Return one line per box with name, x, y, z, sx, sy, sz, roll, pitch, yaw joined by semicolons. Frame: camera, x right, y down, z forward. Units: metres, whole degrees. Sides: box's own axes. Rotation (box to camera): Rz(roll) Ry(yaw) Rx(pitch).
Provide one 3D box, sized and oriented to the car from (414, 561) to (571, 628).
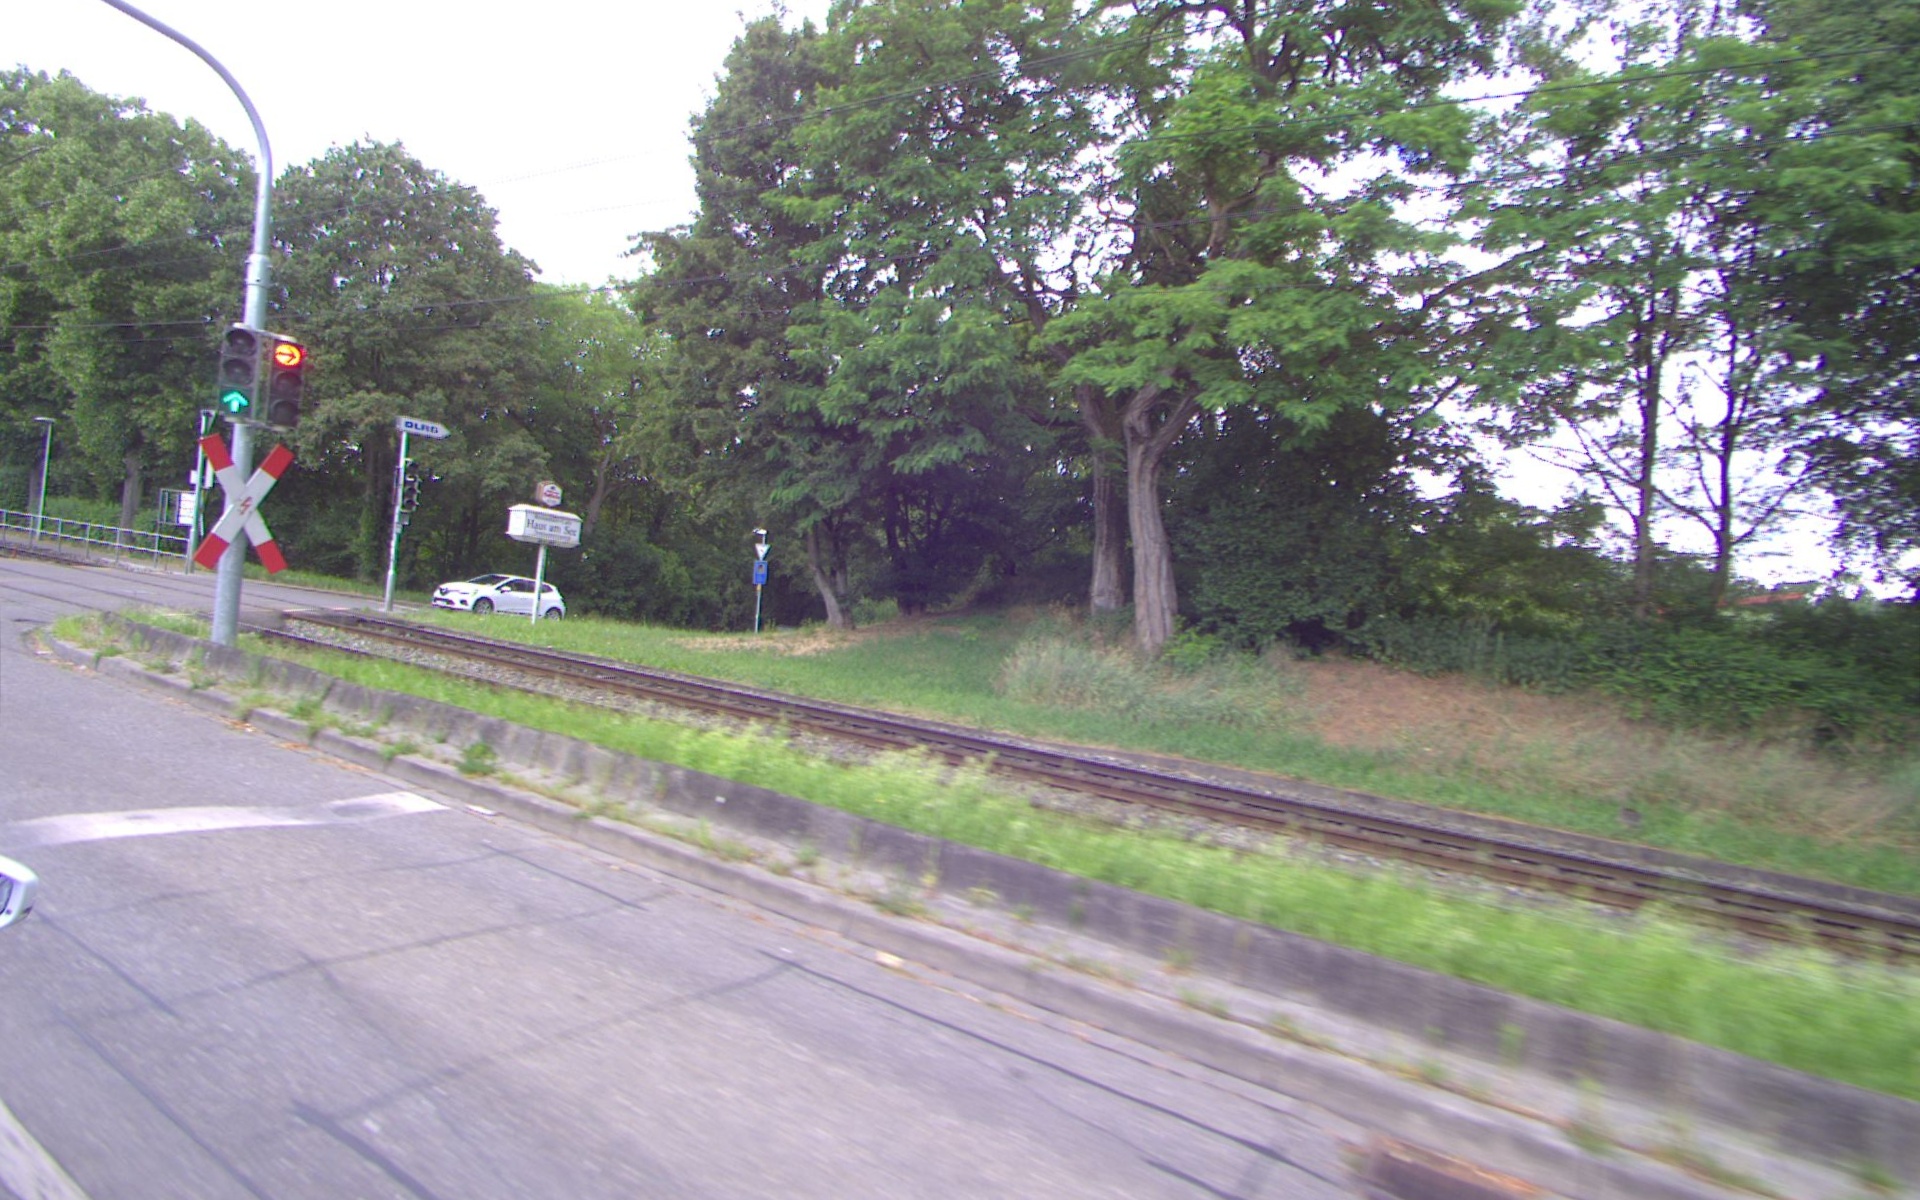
car;-14.550;-0.123;31.556;1.965;1.368;4.004;7;-4;26
